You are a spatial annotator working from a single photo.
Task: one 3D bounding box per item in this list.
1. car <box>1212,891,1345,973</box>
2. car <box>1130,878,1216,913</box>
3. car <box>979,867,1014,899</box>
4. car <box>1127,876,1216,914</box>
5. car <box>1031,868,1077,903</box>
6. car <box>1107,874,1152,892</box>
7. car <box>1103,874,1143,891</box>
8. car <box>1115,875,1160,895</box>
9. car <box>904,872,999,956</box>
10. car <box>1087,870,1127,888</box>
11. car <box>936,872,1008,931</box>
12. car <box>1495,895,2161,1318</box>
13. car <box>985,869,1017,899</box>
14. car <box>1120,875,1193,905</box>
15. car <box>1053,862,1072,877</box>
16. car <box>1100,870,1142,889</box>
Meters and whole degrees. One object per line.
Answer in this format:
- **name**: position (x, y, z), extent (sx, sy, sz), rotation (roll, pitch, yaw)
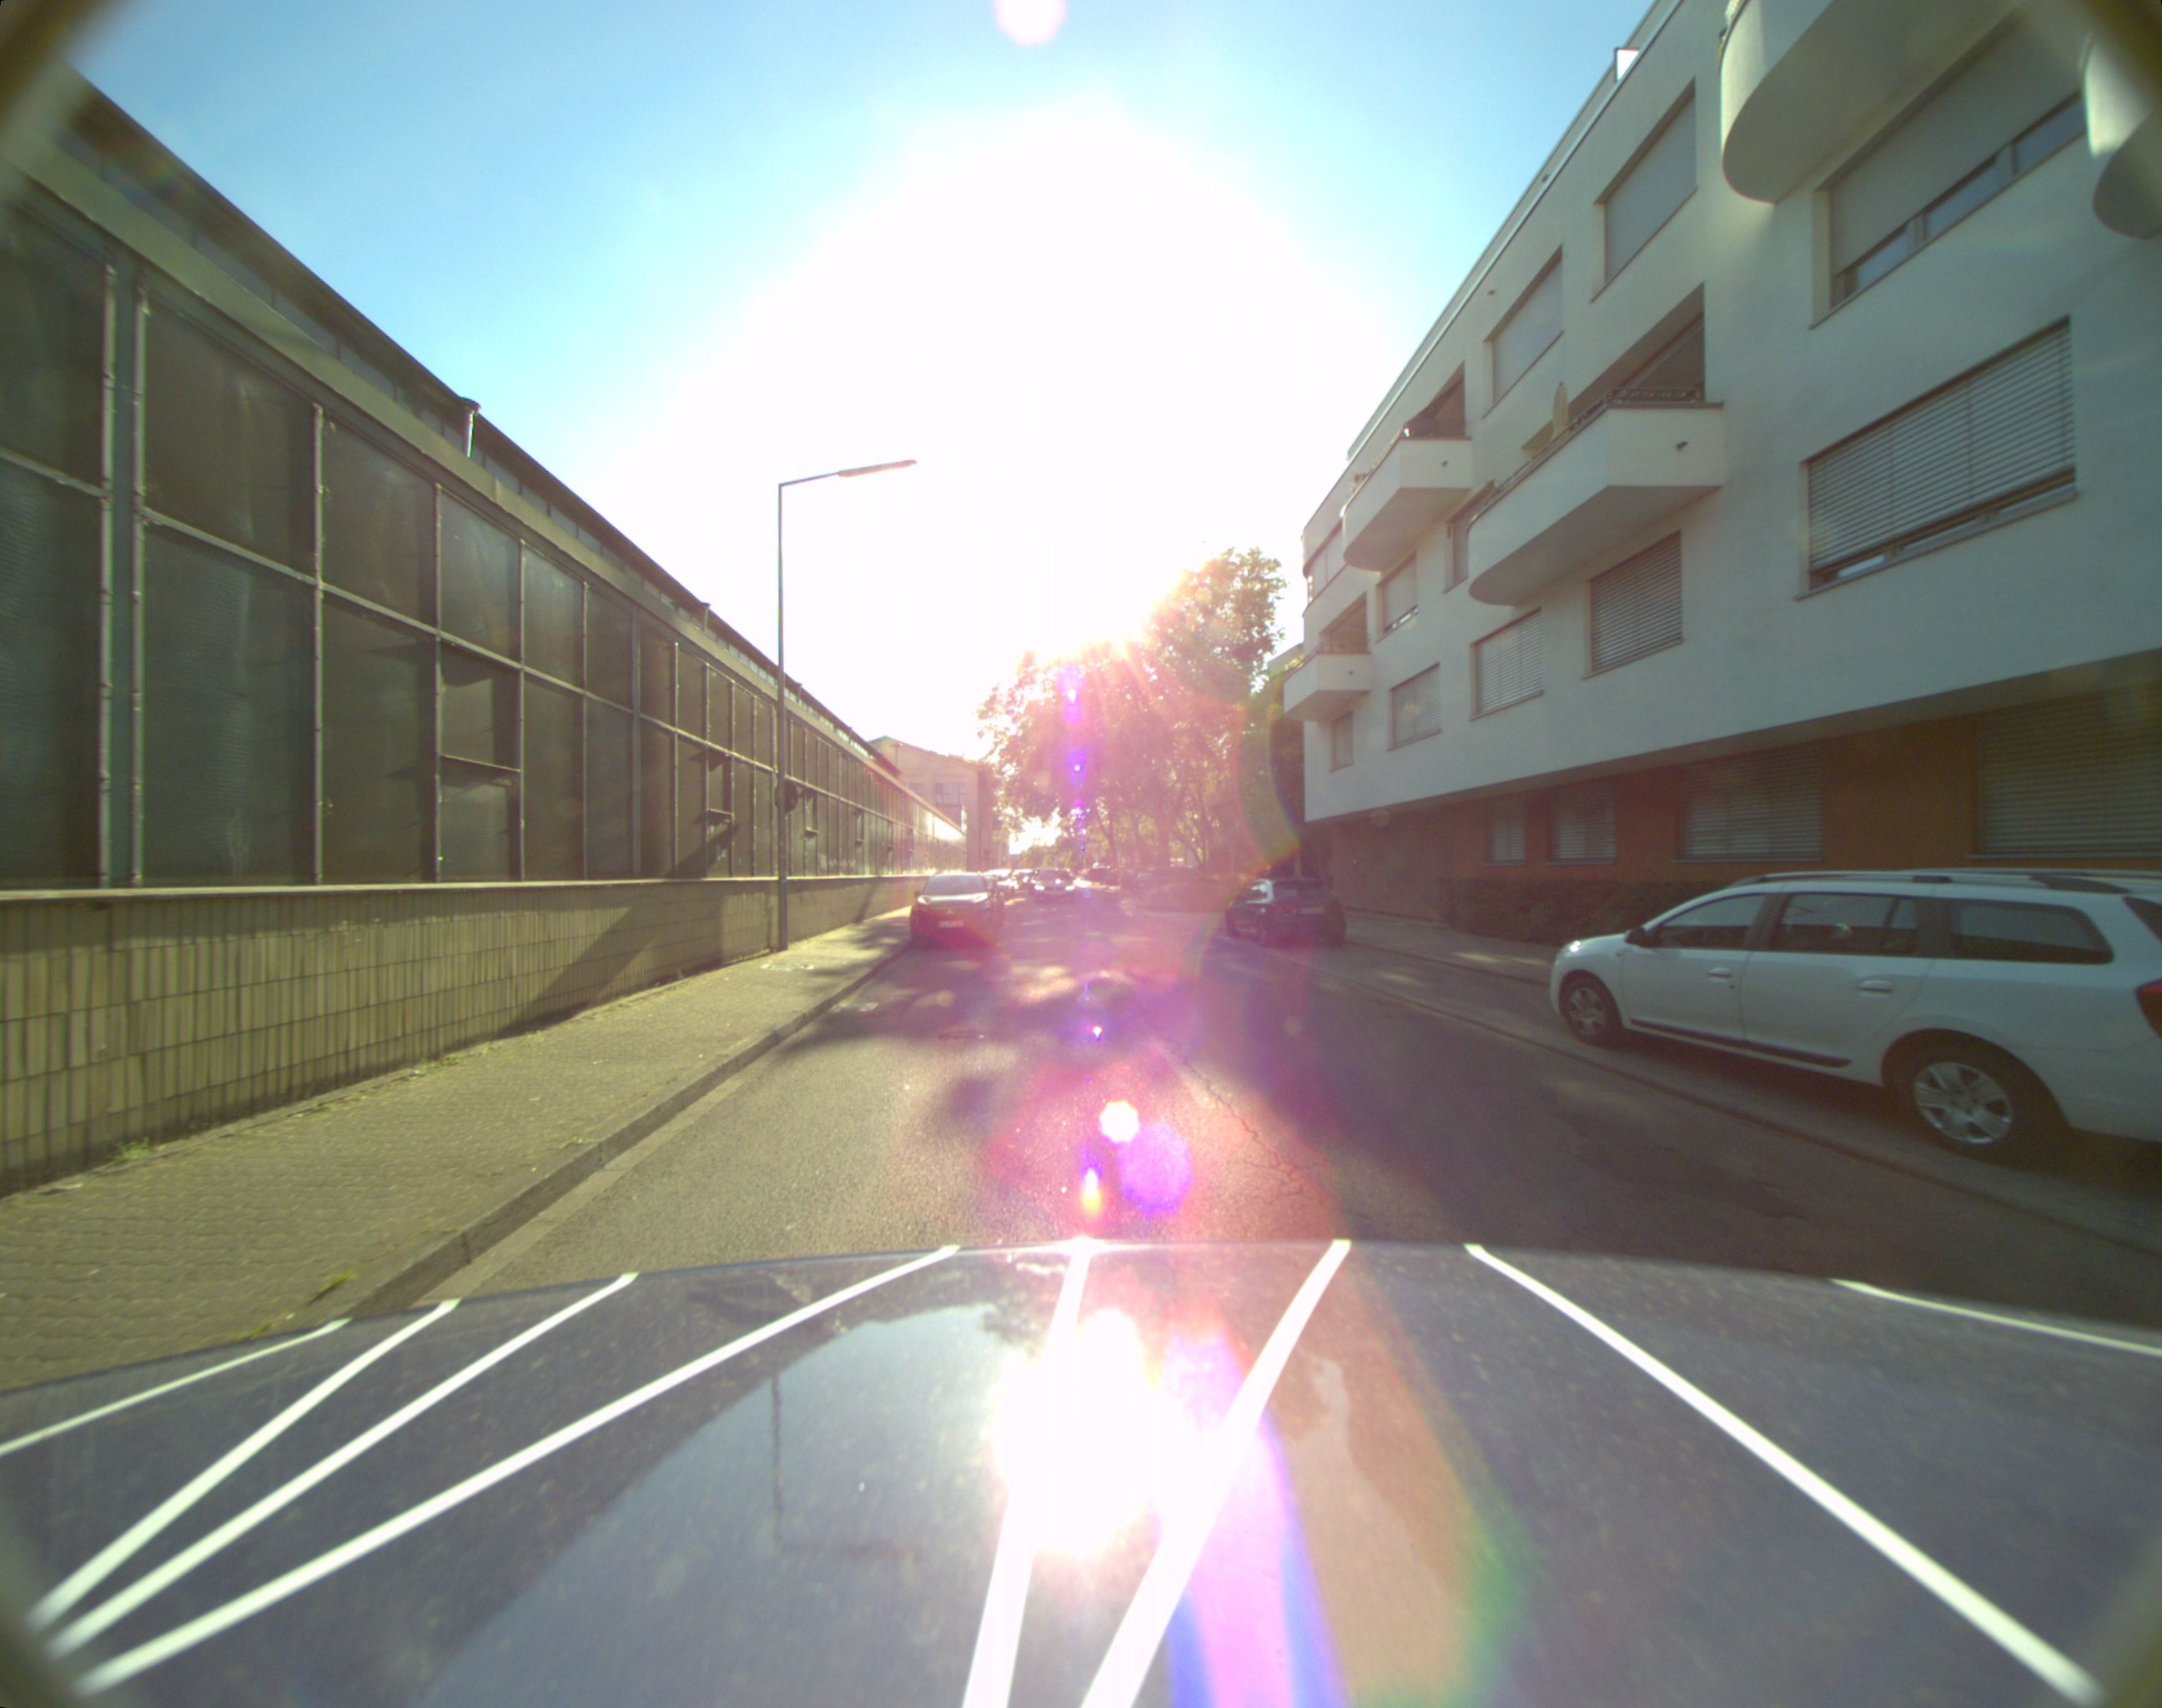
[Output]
- **car**: position (4.230, 1.619, 16.891), extent (1.679, 1.425, 3.769), rotation (-1, 0, -5)
- **car**: position (4.800, 2.104, 39.454), extent (4.146, 1.630, 1.773), rotation (0, 0, -28)
- **car**: position (-4.539, 1.509, 40.775), extent (1.756, 1.625, 3.999), rotation (0, -1, -6)
- **car**: position (4.307, 1.888, 35.923), extent (3.967, 1.652, 1.696), rotation (0, 0, -32)
- **car**: position (-1.324, 1.464, 36.233), extent (1.855, 1.526, 3.855), rotation (-1, 0, -7)
- **car**: position (4.732, 2.806, 73.736), extent (4.004, 1.615, 1.795), rotation (1, -1, -19)
- **car**: position (4.232, 2.843, 76.046), extent (3.604, 1.551, 1.647), rotation (0, 0, -22)
- **car**: position (5.042, 2.701, 67.348), extent (3.656, 1.651, 1.646), rotation (0, 0, -30)
- **car**: position (-2.855, 1.258, 17.536), extent (1.812, 1.577, 4.403), rotation (-1, 0, -6)
- **car**: position (2.770, 2.633, 81.348), extent (4.007, 1.875, 1.713), rotation (0, 0, -30)
- **car**: position (-3.162, 1.334, 22.817), extent (1.755, 1.482, 4.620), rotation (-1, 0, -4)
- **car**: position (5.324, 1.207, 5.380), extent (1.863, 1.577, 4.619), rotation (-1, 0, -7)
- **car**: position (-4.699, 1.742, 45.104), extent (1.755, 1.625, 4.308), rotation (0, -1, -4)
- **car**: position (4.783, 2.235, 48.029), extent (4.276, 1.764, 1.902), rotation (0, 0, -27)
- **car**: position (-2.071, 1.769, 84.930), extent (1.904, 1.527, 4.622), rotation (3, -1, 0)
- **car**: position (4.137, 2.599, 78.898), extent (4.004, 1.870, 1.831), rotation (0, 0, -20)
